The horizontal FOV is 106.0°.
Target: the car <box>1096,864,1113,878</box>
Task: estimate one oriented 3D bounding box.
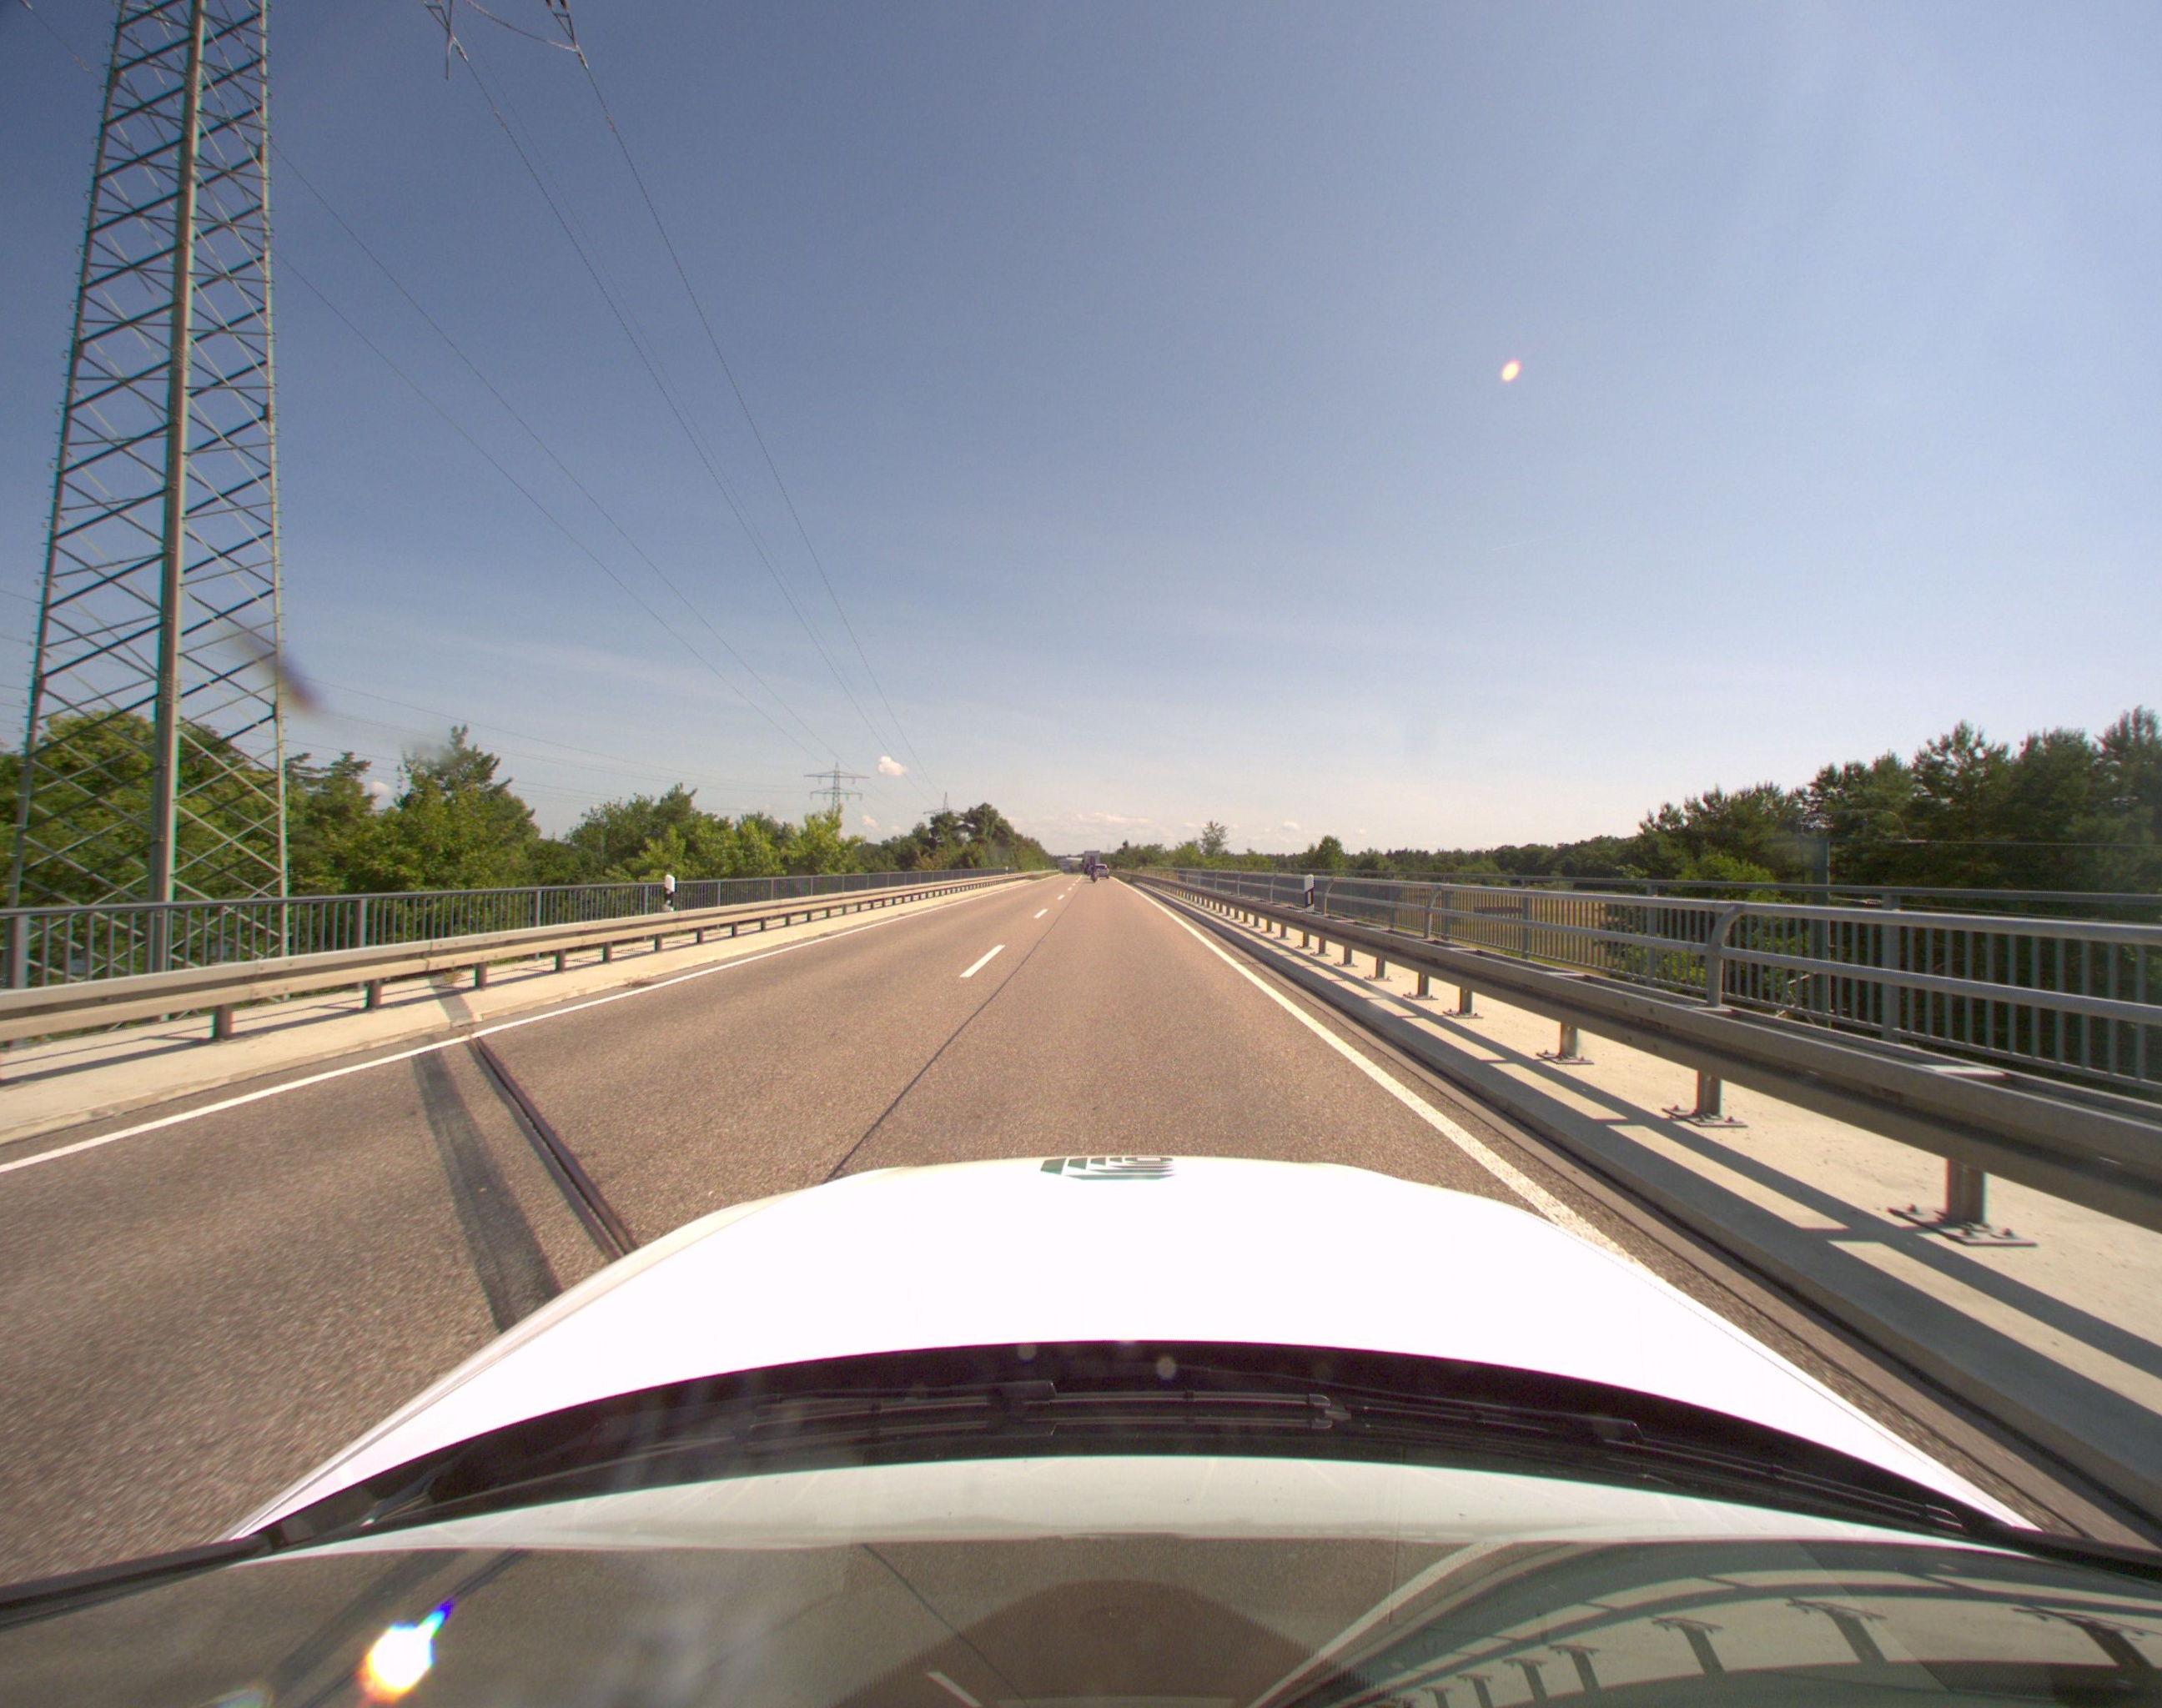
[{"bbox_3d":[2.544,1.765,87.345,1.818,1.451,4.002,0,0,2],"label":"car"}]

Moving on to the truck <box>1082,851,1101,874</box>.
[{"bbox_3d":[1.940,1.504,143.922,3.229,3.979,9.447,0,-1,2],"label":"truck"}]

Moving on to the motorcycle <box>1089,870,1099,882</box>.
[{"bbox_3d":[1.087,1.848,68.310,0.777,0.975,2.363,0,0,3],"label":"motorcycle"}]

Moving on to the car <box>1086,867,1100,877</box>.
[{"bbox_3d":[1.763,2.596,116.490,1.858,1.420,4.002,0,0,2],"label":"car"}]

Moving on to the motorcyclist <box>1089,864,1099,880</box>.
[{"bbox_3d":[1.097,1.499,68.333,0.777,1.325,0.814,0,0,3],"label":"motorcyclist"}]
